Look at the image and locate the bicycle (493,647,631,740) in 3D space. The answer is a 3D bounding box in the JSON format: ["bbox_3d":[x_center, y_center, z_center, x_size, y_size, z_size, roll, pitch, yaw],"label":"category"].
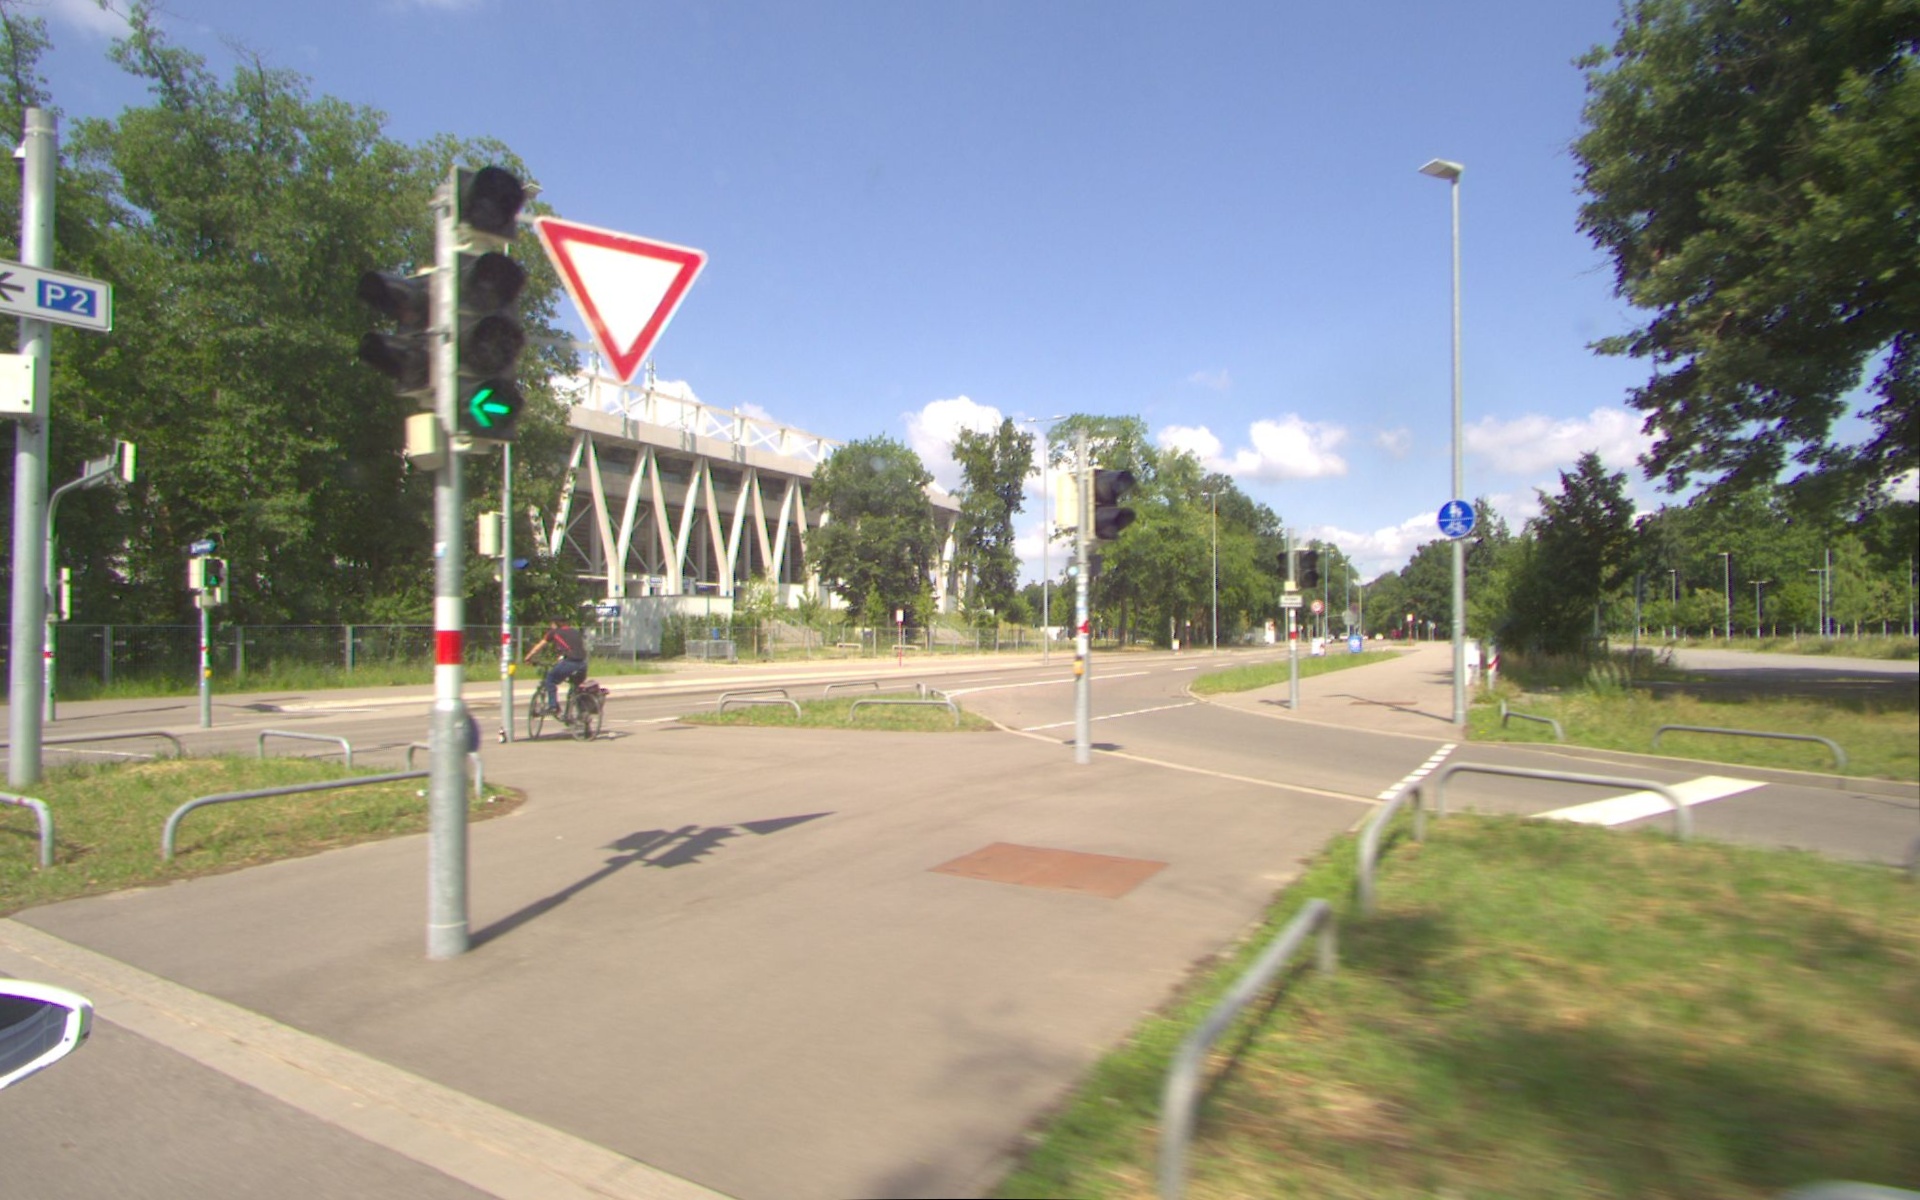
[{"bbox_3d":[-5.706,1.317,14.323,1.870,1.221,0.879,-3,-2,31],"label":"bicycle"}]

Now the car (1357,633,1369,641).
[{"bbox_3d":[72.782,6.659,180.978,1.557,1.498,3.555,-3,-2,30],"label":"car"}]

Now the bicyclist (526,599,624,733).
[{"bbox_3d":[-5.459,0.924,14.211,0.965,1.820,0.883,-2,-2,32],"label":"bicyclist"}]
